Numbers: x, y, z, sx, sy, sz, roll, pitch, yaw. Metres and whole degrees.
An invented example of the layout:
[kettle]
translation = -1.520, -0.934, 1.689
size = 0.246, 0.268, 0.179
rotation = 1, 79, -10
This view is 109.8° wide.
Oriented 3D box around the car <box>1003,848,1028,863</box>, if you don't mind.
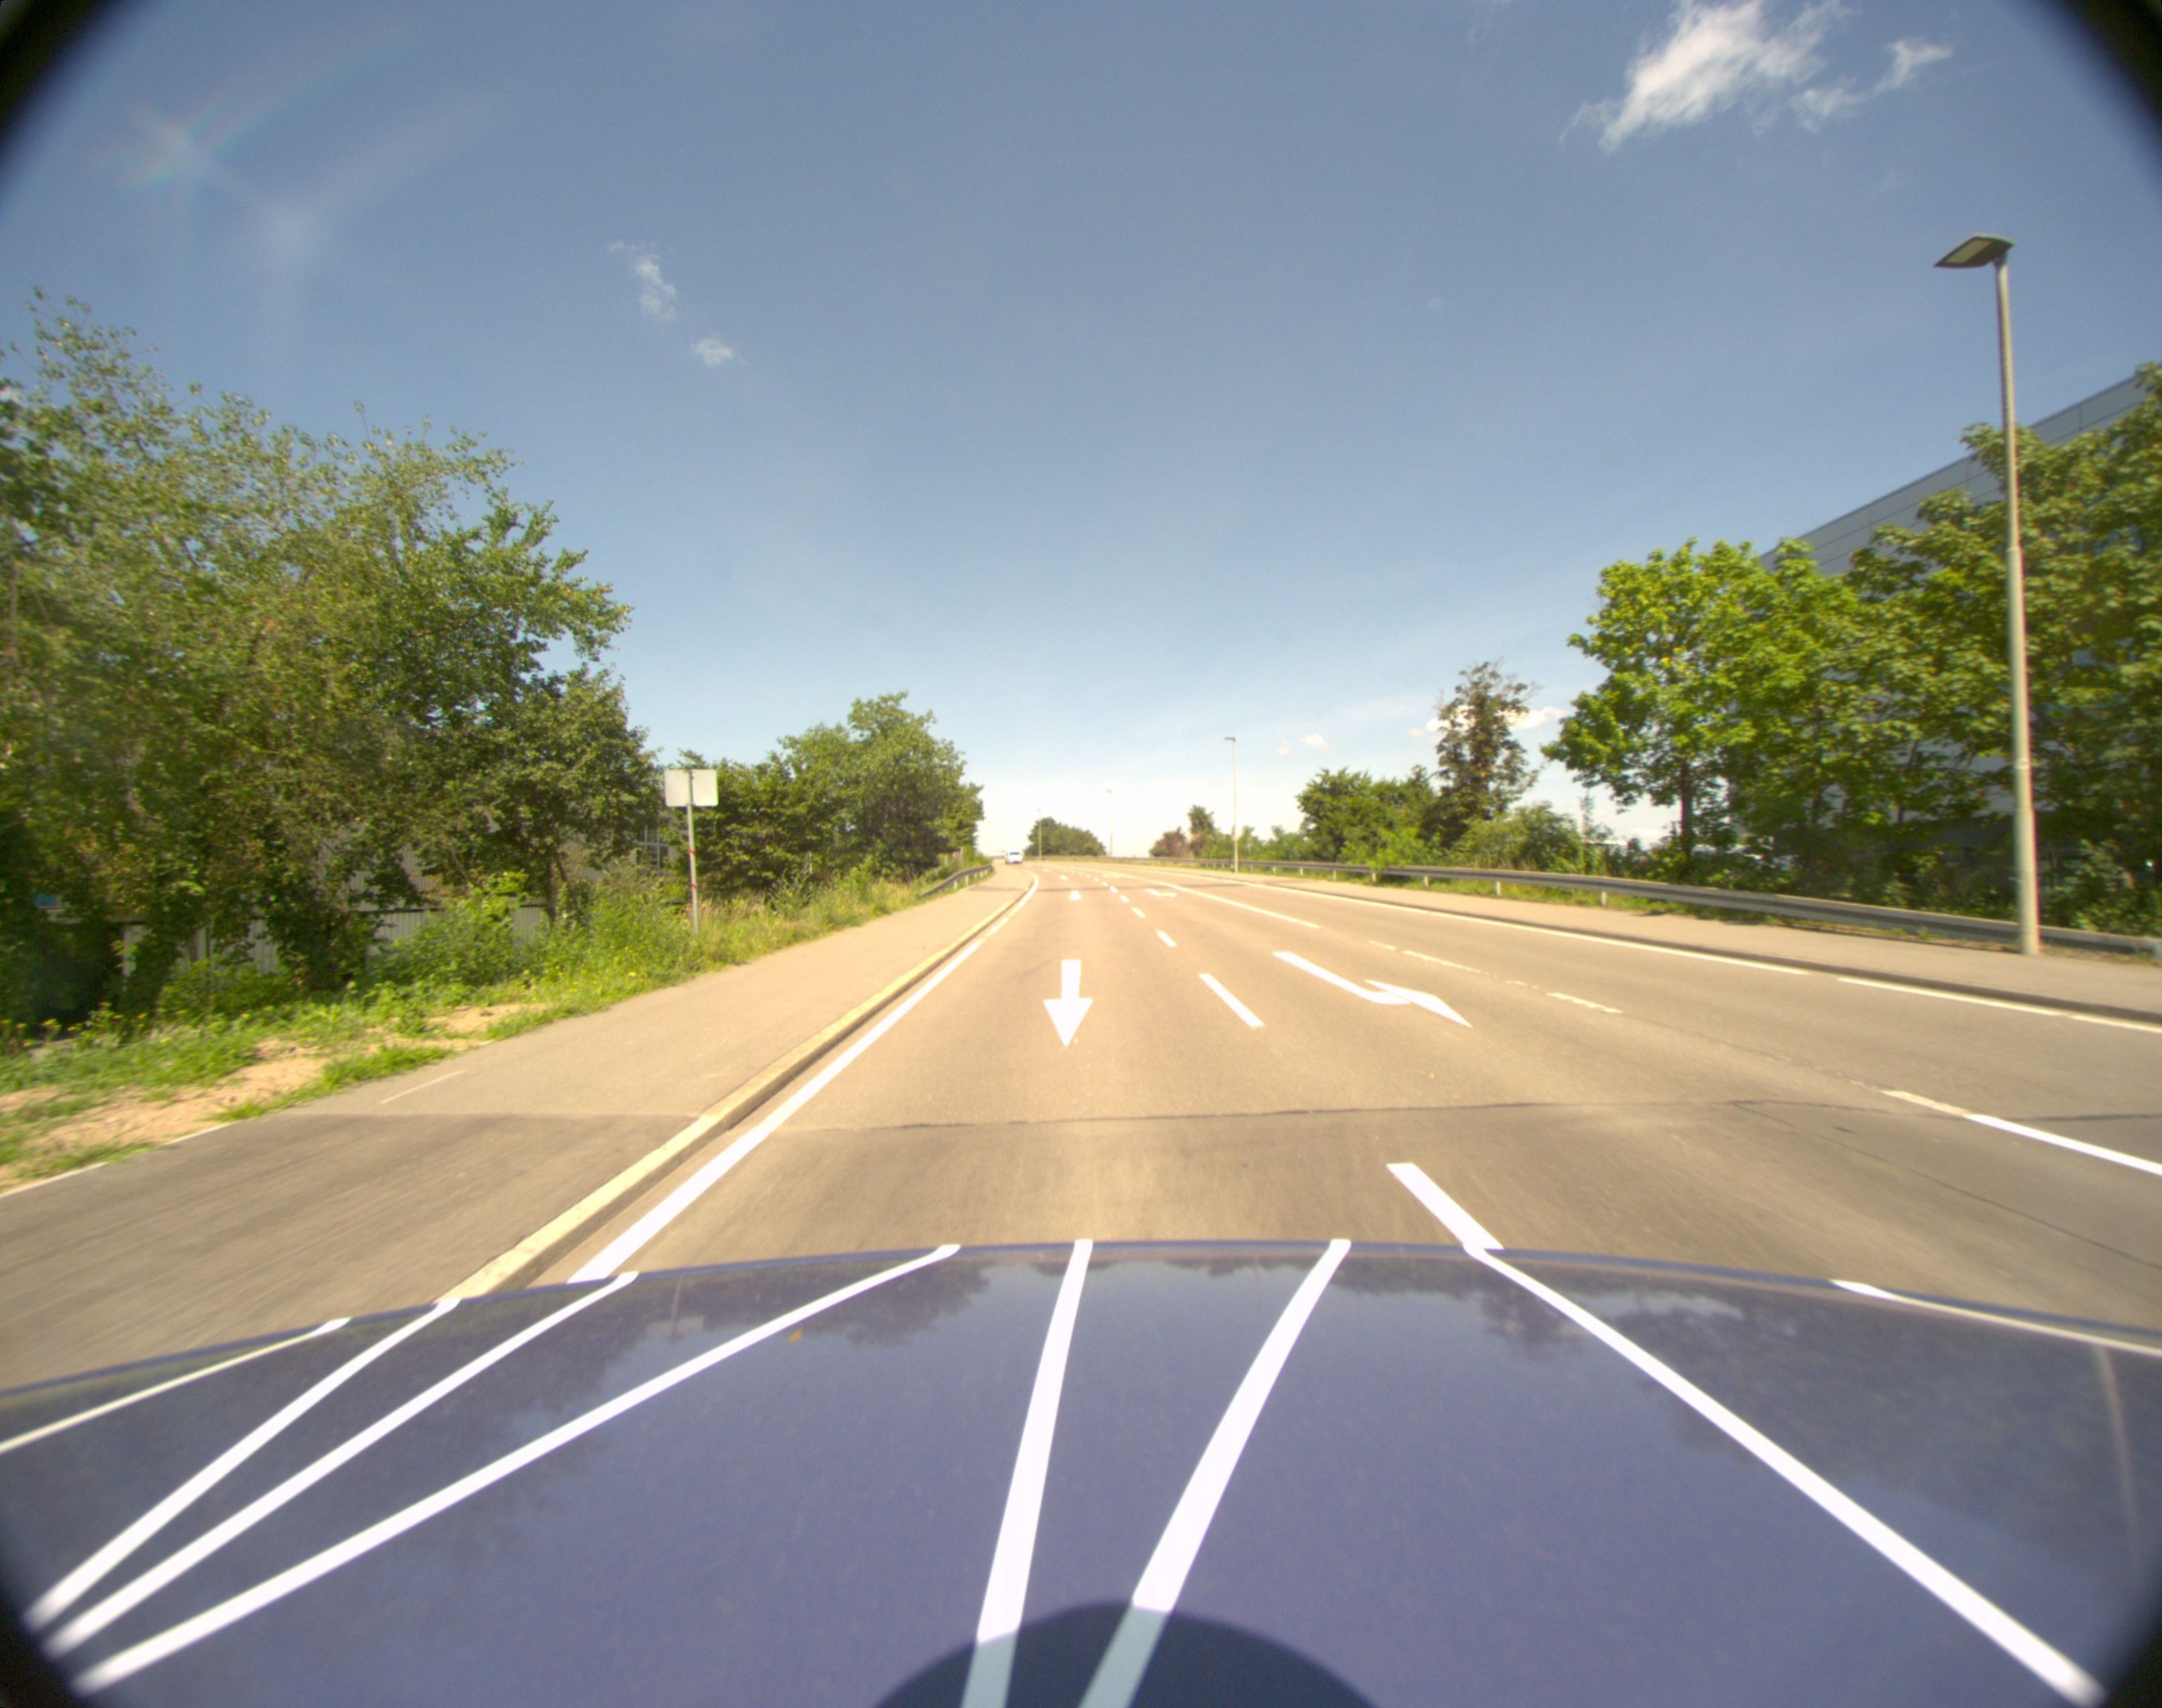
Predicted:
[car]
translation = -8.848, 0.212, 102.581
size = 2.096, 1.750, 4.275
rotation = -3, 0, -24
